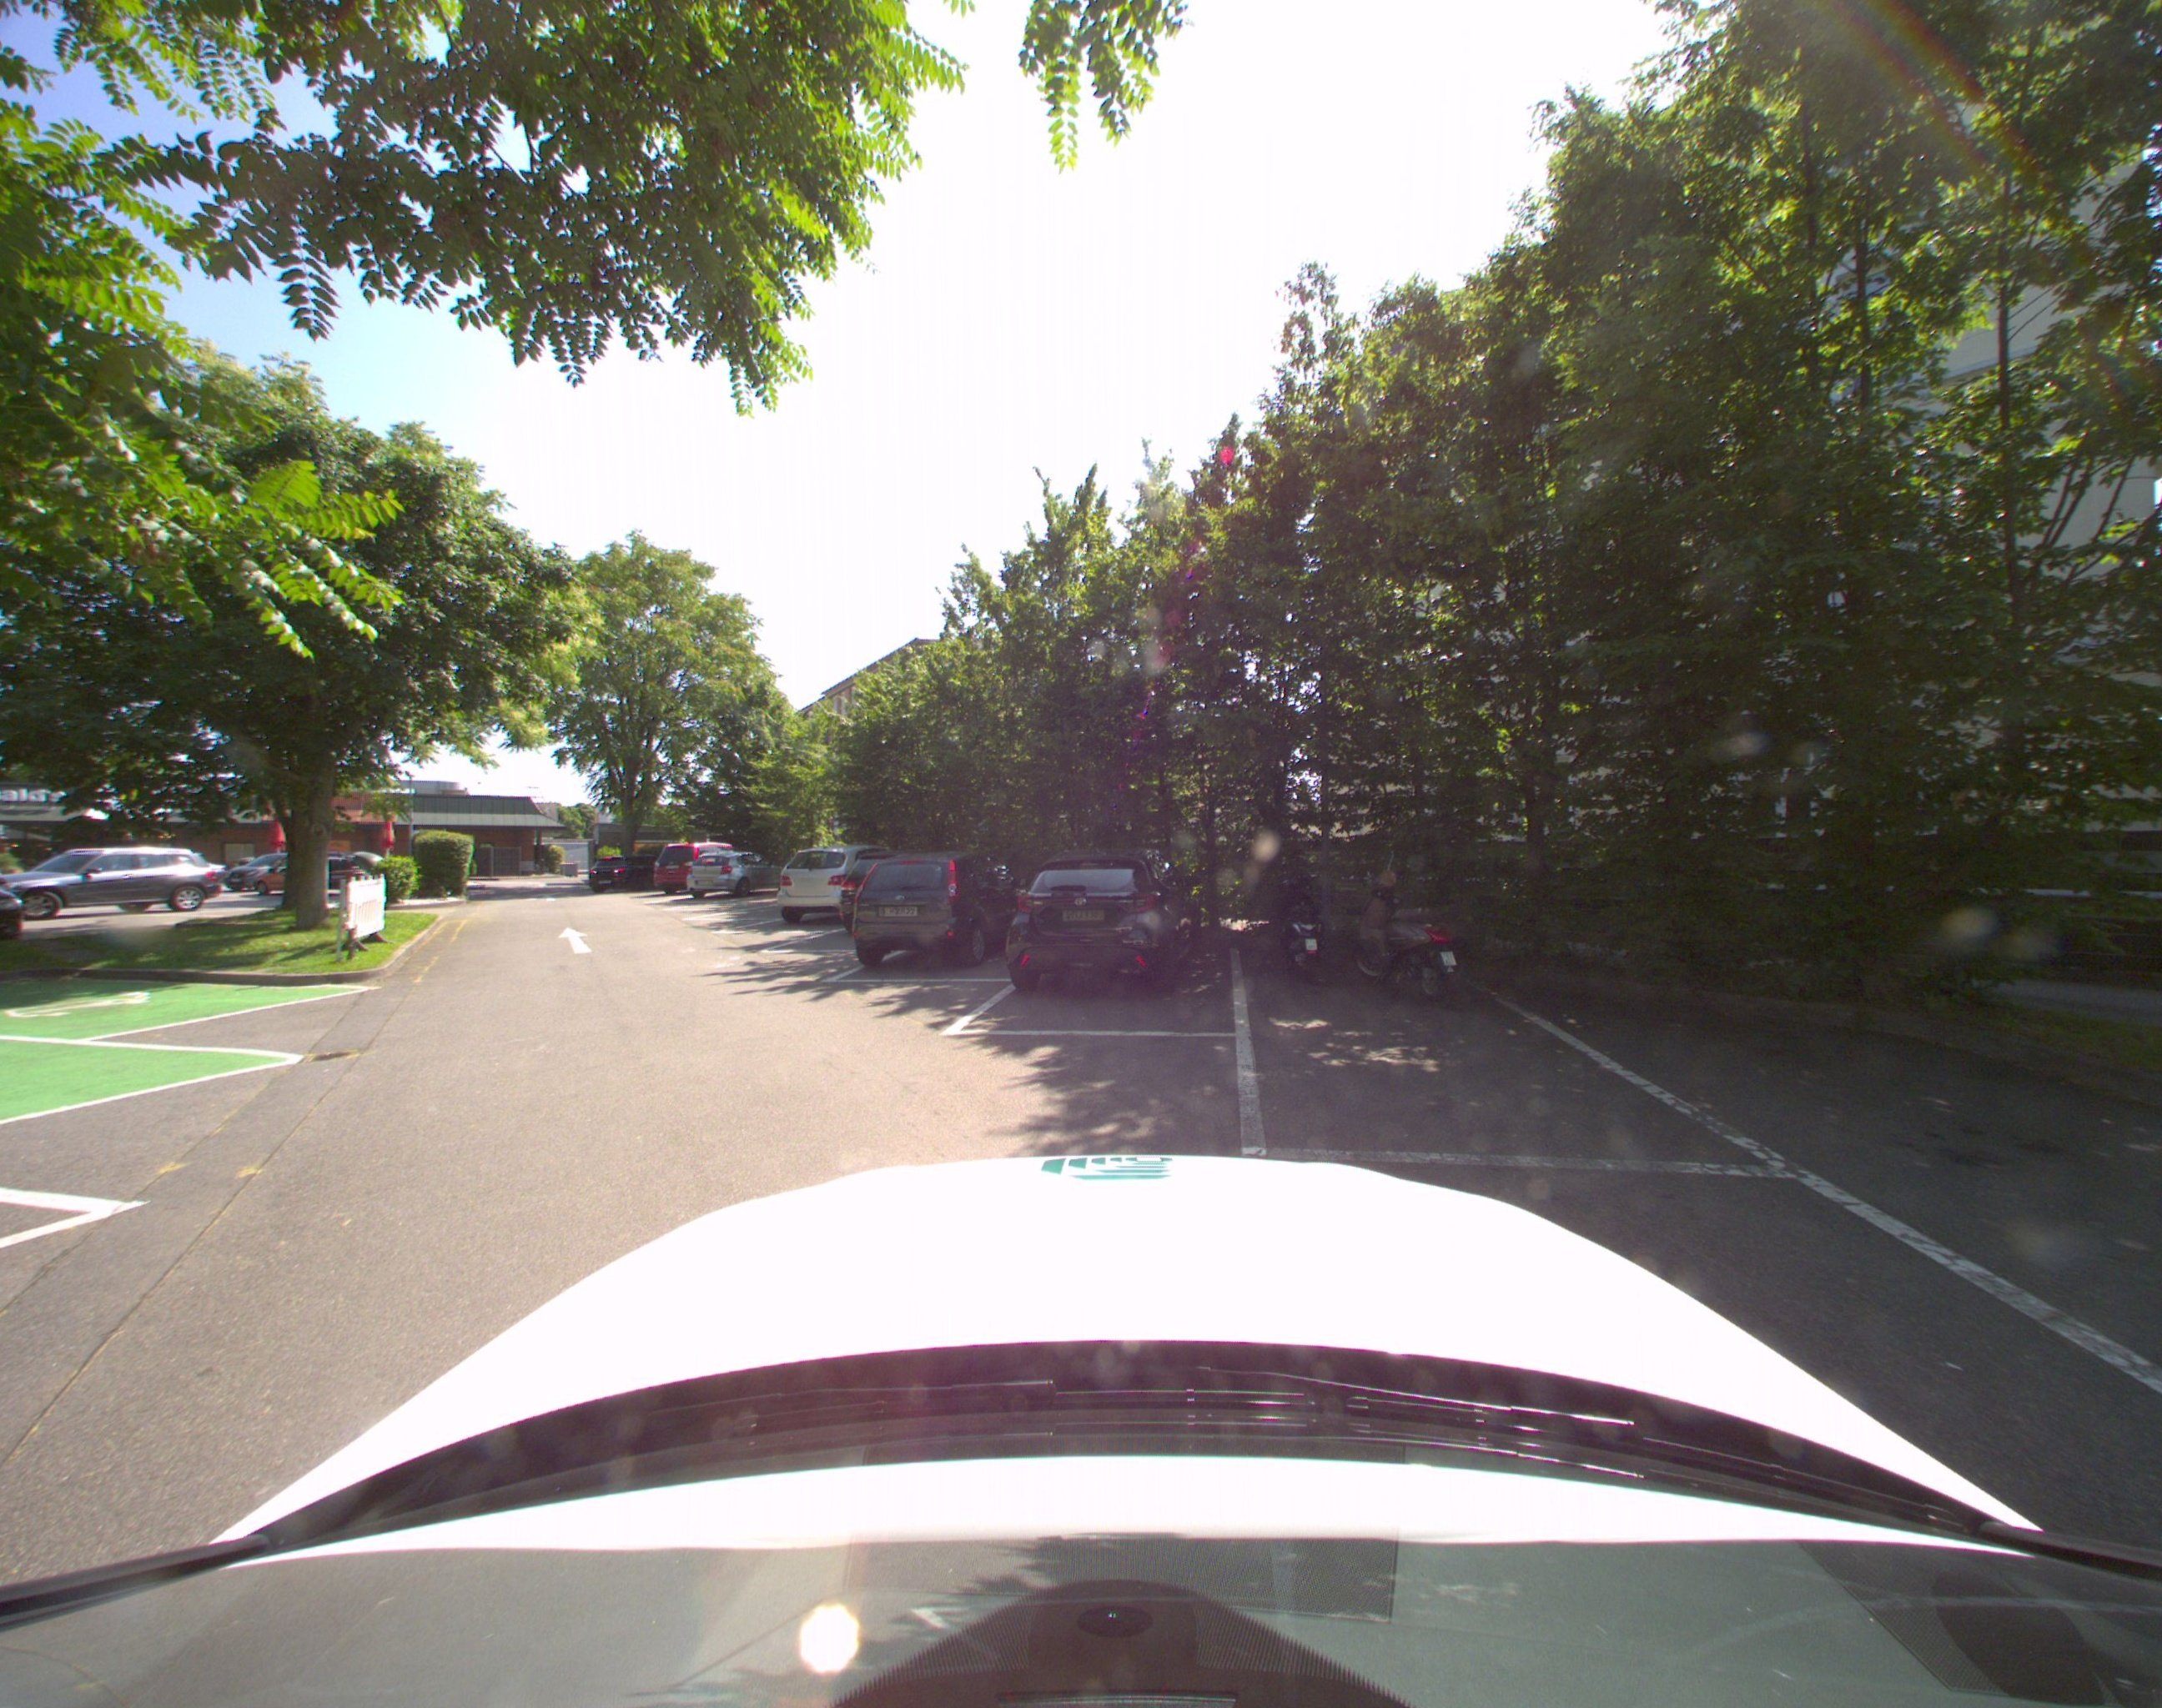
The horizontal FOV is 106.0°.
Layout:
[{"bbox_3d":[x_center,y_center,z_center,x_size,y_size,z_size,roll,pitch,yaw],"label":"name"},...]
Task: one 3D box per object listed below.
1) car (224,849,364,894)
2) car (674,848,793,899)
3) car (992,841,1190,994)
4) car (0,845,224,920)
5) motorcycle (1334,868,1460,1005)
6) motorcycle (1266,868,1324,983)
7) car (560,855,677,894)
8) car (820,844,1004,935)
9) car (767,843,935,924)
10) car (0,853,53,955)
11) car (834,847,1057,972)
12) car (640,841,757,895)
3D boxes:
[{"bbox_3d":[-31.563,0.671,32.695,4.324,1.685,1.869,0,2,12],"label":"car"},{"bbox_3d":[-11.310,0.583,26.815,1.758,1.475,4.009,-1,1,8],"label":"car"},{"bbox_3d":[0.339,0.607,10.038,1.644,1.469,3.918,-1,1,12],"label":"car"},{"bbox_3d":[-25.155,0.649,20.671,1.845,1.686,4.378,0,0,9],"label":"car"},{"bbox_3d":[3.030,0.742,7.967,0.566,1.169,1.605,-1,0,-1],"label":"motorcycle"},{"bbox_3d":[2.393,0.755,9.225,0.470,1.141,1.610,-1,0,9],"label":"motorcycle"},{"bbox_3d":[-17.791,0.741,31.546,1.758,1.389,4.011,-1,0,10],"label":"car"},{"bbox_3d":[-3.105,0.601,15.920,1.754,1.469,4.018,-1,1,17],"label":"car"},{"bbox_3d":[-4.977,0.569,18.248,1.755,1.572,4.017,-1,1,16],"label":"car"},{"bbox_3d":[-17.703,0.702,12.114,4.314,1.453,1.872,0,-2,23],"label":"car"},{"bbox_3d":[-1.763,0.674,12.021,1.686,1.453,4.017,-1,1,15],"label":"car"},{"bbox_3d":[-13.679,0.433,29.387,1.758,1.734,4.011,-3,1,9],"label":"car"}]
